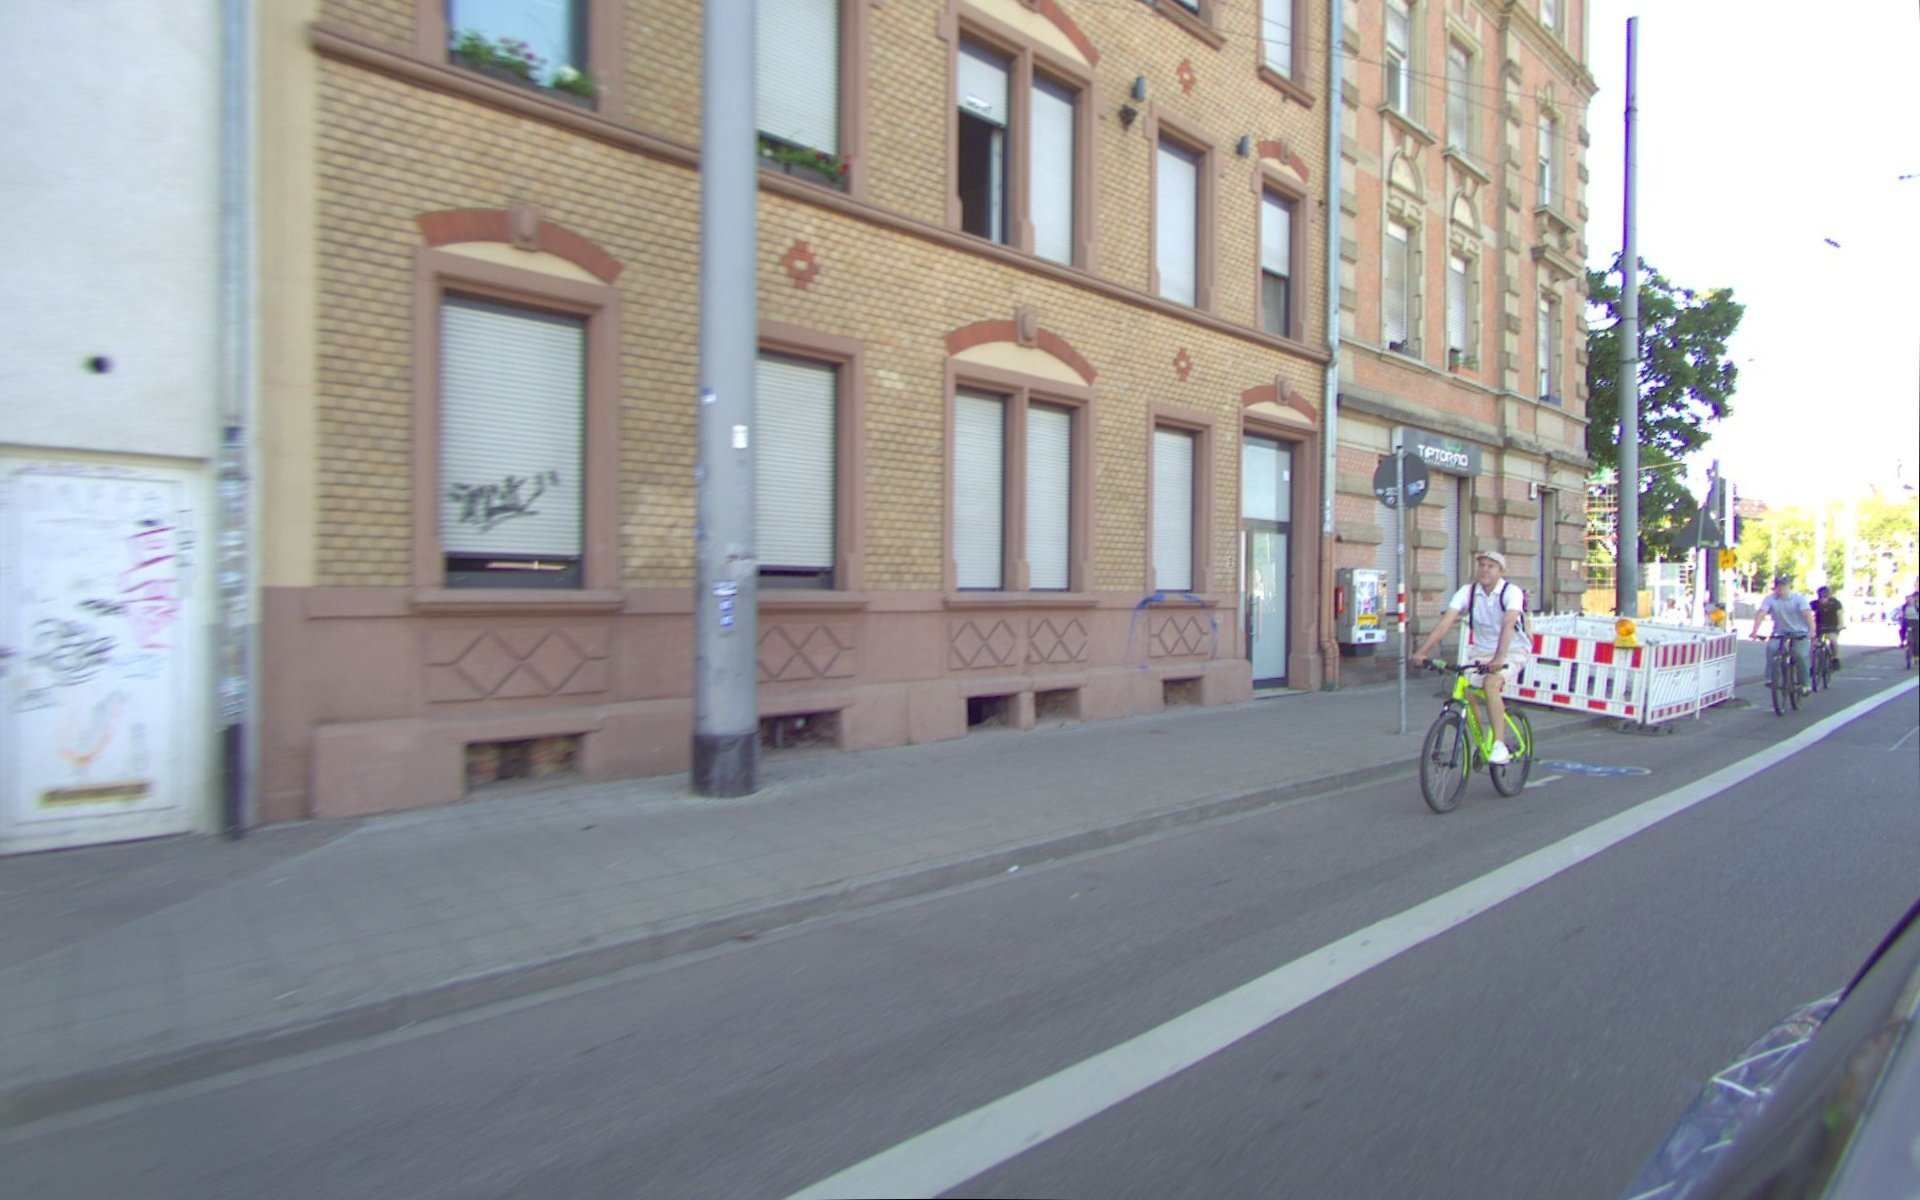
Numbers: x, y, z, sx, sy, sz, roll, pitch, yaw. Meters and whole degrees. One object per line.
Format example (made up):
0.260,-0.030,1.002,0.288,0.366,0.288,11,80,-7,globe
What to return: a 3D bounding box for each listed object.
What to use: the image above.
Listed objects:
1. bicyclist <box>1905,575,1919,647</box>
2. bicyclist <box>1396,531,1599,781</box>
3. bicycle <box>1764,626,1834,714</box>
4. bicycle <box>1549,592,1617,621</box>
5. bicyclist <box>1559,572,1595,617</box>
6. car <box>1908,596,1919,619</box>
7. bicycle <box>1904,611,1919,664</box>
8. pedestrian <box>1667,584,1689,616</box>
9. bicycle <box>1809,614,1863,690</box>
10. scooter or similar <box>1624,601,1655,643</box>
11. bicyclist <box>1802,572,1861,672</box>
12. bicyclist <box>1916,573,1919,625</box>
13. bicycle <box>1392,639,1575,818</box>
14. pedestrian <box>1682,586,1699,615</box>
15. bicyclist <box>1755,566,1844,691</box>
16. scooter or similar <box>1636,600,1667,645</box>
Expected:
22.058,0.243,23.140,0.936,1.634,0.551,-1,-1,-42,bicyclist
3.902,0.375,7.387,1.096,1.705,0.684,-1,-1,-16,bicyclist
11.307,0.909,13.622,1.899,1.082,0.387,0,0,-40,bicycle
23.865,0.254,38.807,2.160,1.072,0.487,0,-1,10,bicycle
23.683,-0.198,38.840,1.029,1.681,0.453,-1,-1,9,bicyclist
68.874,0.489,71.514,1.872,1.586,3.967,-2,0,32,car
21.996,0.847,23.066,1.901,1.132,0.532,-1,-1,-42,bicycle
44.687,-0.026,62.981,1.032,1.954,0.931,0,-1,-45,pedestrian
14.621,0.830,16.918,0.530,1.131,1.908,0,1,37,bicycle
19.813,0.627,29.504,1.673,1.172,0.270,-1,-1,-41,scooter or similar
14.640,0.360,17.020,0.621,1.634,0.968,-2,-1,36,bicyclist
26.819,-0.038,27.801,1.018,1.439,0.675,-1,-1,-42,bicyclist
3.915,0.875,7.494,1.900,1.132,0.532,0,-2,-41,bicycle
44.316,0.031,61.398,0.810,1.779,0.659,0,-1,-45,pedestrian
11.300,0.361,13.620,0.870,1.613,0.784,0,0,-40,bicyclist
20.027,0.636,29.298,1.673,1.235,0.270,-1,-1,-41,scooter or similar
